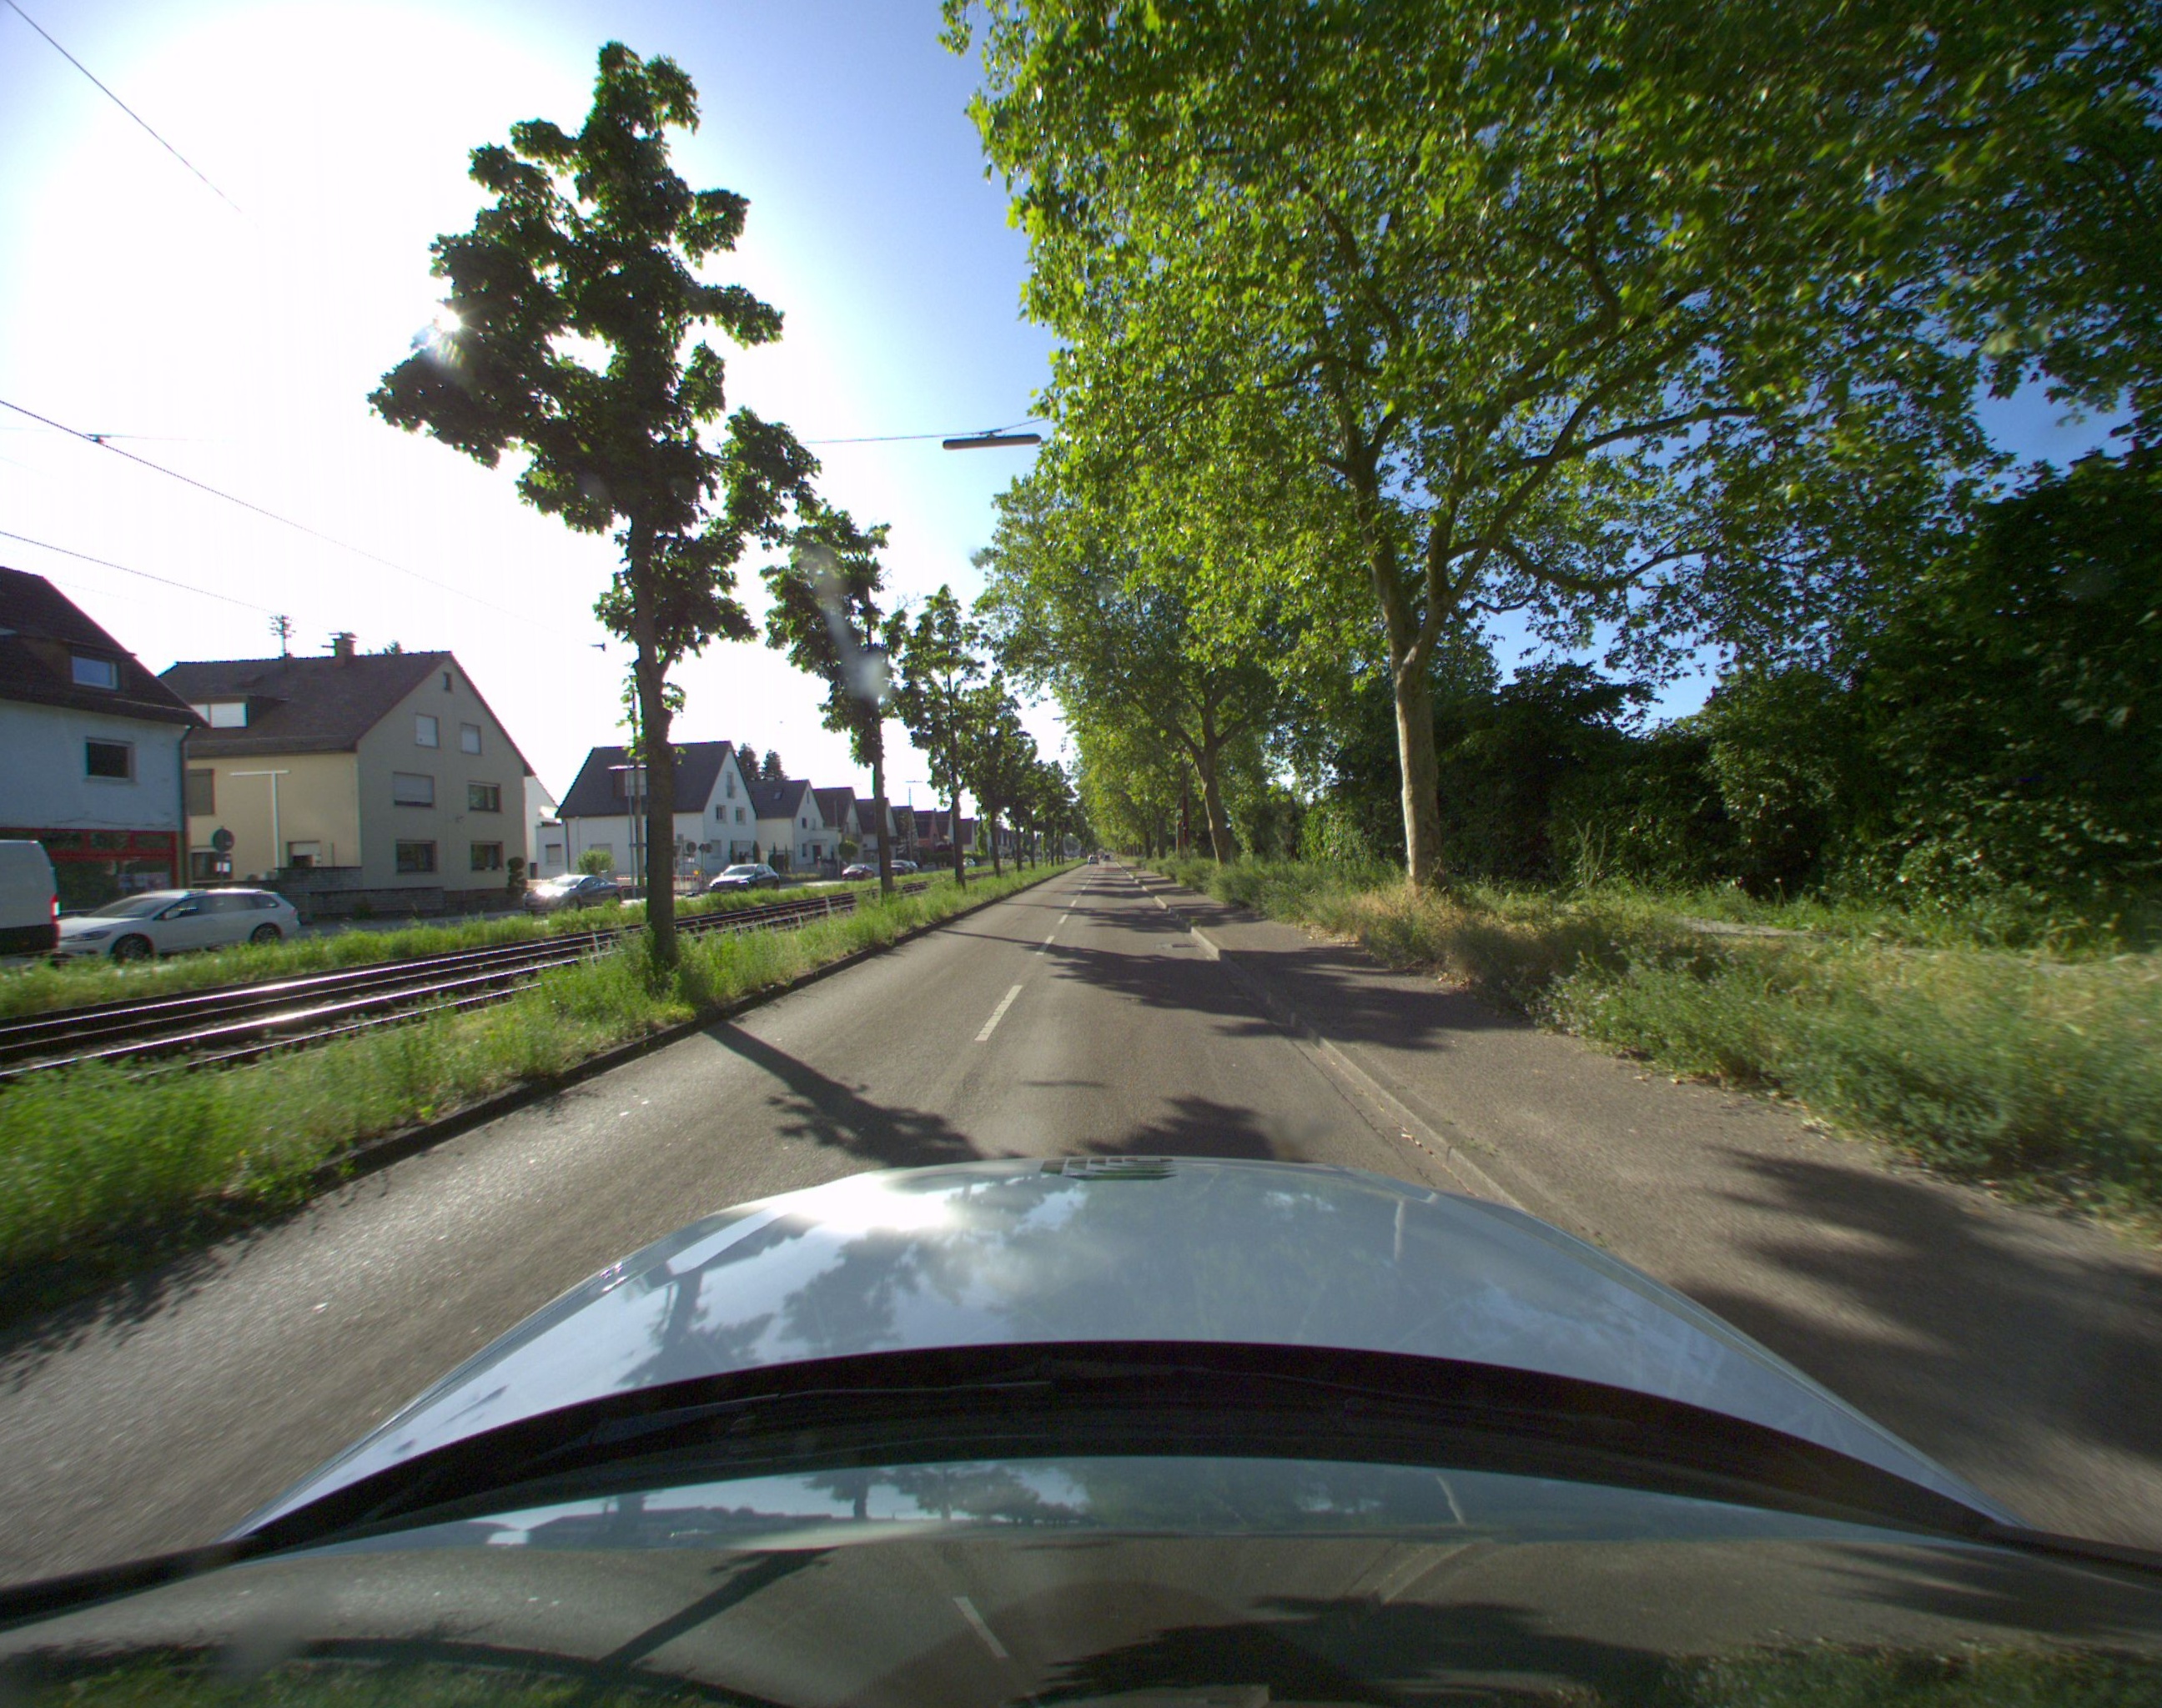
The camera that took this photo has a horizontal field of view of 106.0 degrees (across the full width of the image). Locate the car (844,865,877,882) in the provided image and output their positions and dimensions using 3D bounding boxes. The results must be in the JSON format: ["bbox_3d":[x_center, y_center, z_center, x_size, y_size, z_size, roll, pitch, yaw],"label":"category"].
[{"bbox_3d":[-18.941,1.660,70.013,1.487,1.326,4.003,-1,-1,3],"label":"car"}]

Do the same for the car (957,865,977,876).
[{"bbox_3d":[-17.548,2.507,125.956,1.984,1.599,4.738,-1,-1,5],"label":"car"}]

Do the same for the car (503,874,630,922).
[{"bbox_3d":[-20.192,1.687,32.260,1.985,1.581,4.501,-1,0,2],"label":"car"}]

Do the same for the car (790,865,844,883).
[{"bbox_3d":[-23.782,1.821,73.576,4.202,1.463,1.936,-1,-1,-2],"label":"car"}]

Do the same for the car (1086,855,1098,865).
[{"bbox_3d":[1.774,0.962,126.543,1.732,1.401,3.278,-1,-1,2],"label":"car"}]

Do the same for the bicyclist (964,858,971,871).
[{"bbox_3d":[-15.370,1.436,110.407,0.686,1.652,0.882,-2,0,1],"label":"bicyclist"}]

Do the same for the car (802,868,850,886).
[{"bbox_3d":[-24.348,2.181,77.808,3.977,1.669,1.998,-1,-1,-2],"label":"car"}]

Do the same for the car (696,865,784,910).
[{"bbox_3d":[-15.551,1.473,37.392,1.908,1.883,4.527,-1,-1,3],"label":"car"}]

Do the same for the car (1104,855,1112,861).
[{"bbox_3d":[6.366,0.924,192.903,1.754,1.513,3.279,-1,-1,2],"label":"car"}]

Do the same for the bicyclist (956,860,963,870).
[{"bbox_3d":[-15.876,1.428,106.569,0.686,1.337,0.882,-2,0,1],"label":"bicyclist"}]

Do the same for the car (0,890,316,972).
[{"bbox_3d":[-20.569,1.633,18.539,1.818,1.412,4.659,-1,0,1],"label":"car"}]

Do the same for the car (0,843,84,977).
[{"bbox_3d":[-20.795,1.027,12.763,1.986,2.459,6.676,-1,-1,1],"label":"car"}]

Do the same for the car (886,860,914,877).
[{"bbox_3d":[-18.309,1.462,82.507,1.637,1.568,4.390,-1,-1,3],"label":"car"}]
